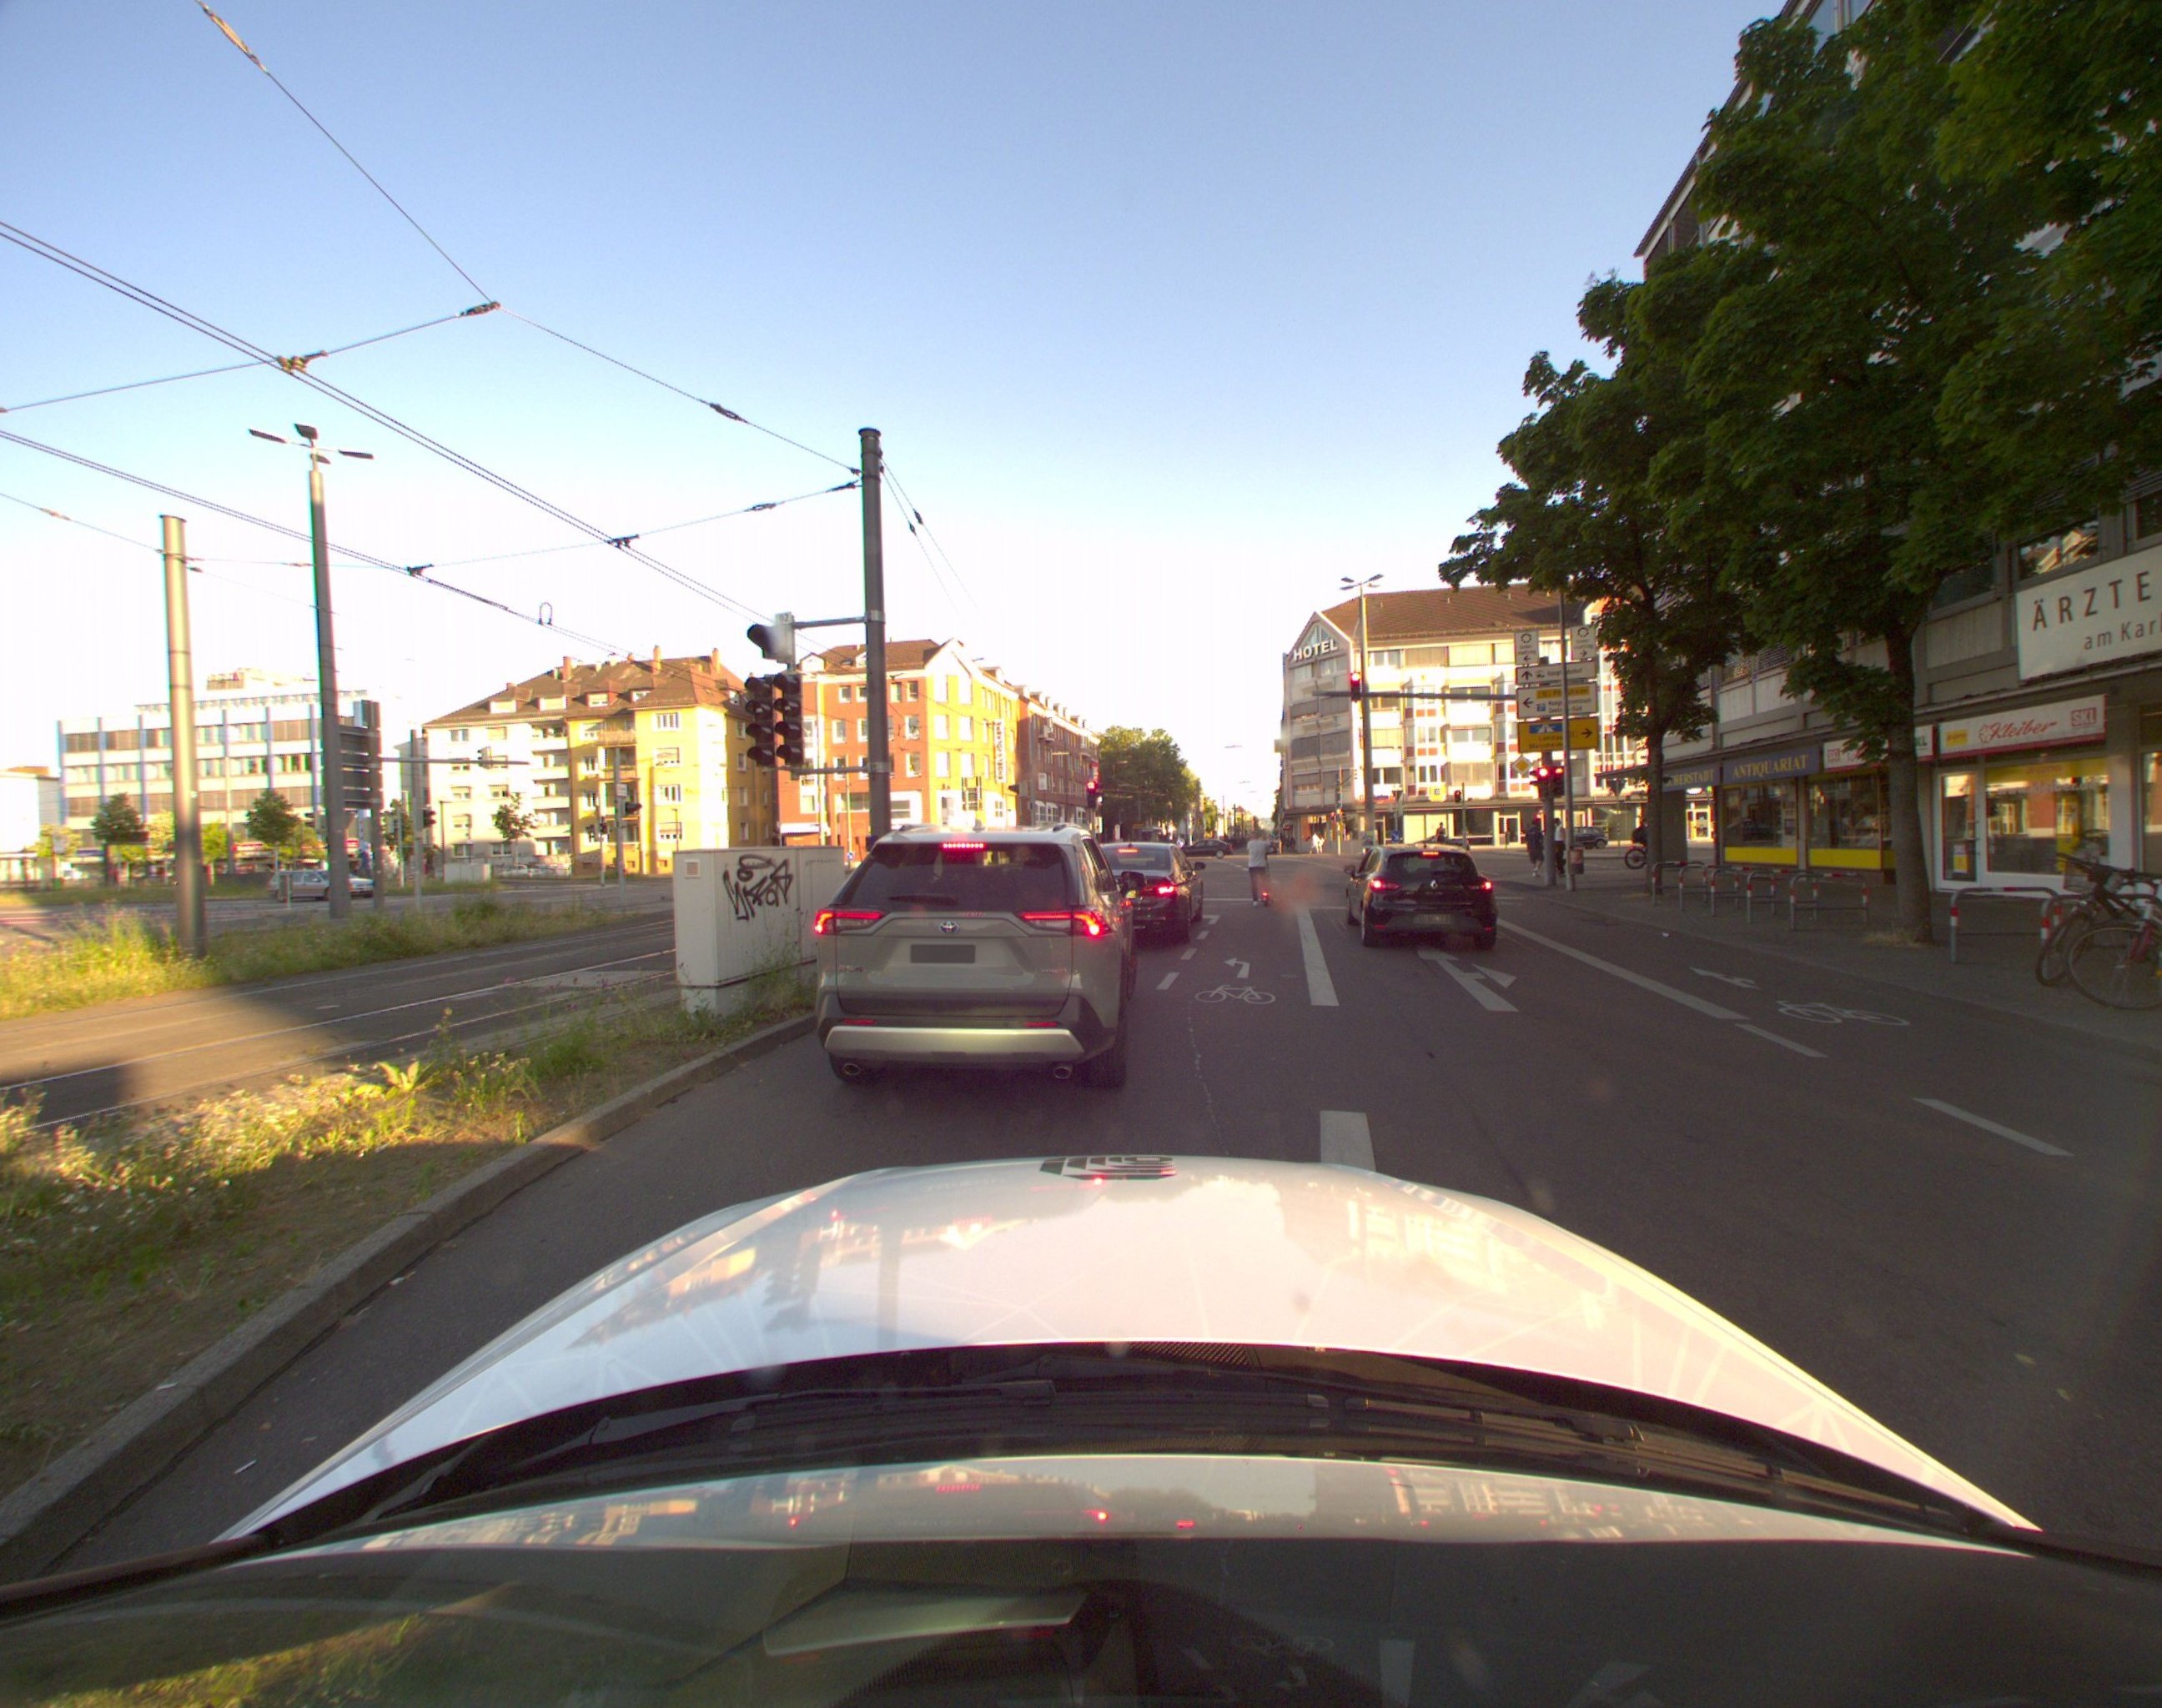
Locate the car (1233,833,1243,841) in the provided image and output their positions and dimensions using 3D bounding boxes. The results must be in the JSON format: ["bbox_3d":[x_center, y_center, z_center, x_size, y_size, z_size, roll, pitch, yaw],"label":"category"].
[{"bbox_3d":[38.784,-4.282,201.473,1.978,1.859,4.017,-2,1,16],"label":"car"}]

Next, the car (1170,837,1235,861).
[{"bbox_3d":[8.807,-0.371,58.682,4.523,1.620,2.004,-1,1,10],"label":"car"}]

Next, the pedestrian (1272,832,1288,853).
[{"bbox_3d":[16.680,-0.954,68.281,0.937,1.726,0.845,-1,1,-28],"label":"pedestrian"}]

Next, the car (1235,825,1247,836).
[{"bbox_3d":[30.937,-4.536,157.687,1.979,1.900,4.016,0,1,14],"label":"car"}]

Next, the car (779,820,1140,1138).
[{"bbox_3d":[-0.495,0.588,6.268,1.827,1.636,4.097,0,2,5],"label":"car"}]

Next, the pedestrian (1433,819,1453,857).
[{"bbox_3d":[17.221,-0.764,38.746,0.741,1.778,0.803,0,1,16],"label":"pedestrian"}]

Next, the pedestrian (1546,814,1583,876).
[{"bbox_3d":[14.668,-0.269,24.709,1.003,1.830,0.720,-1,1,-43],"label":"pedestrian"}]

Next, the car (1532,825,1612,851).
[{"bbox_3d":[33.050,-1.079,54.913,4.206,1.696,2.007,0,1,11],"label":"car"}]

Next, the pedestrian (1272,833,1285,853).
[{"bbox_3d":[16.757,-0.946,69.261,0.724,1.623,0.766,-2,1,-24],"label":"pedestrian"}]

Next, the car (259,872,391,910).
[{"bbox_3d":[-34.477,1.671,37.204,4.316,1.551,2.003,-1,1,6],"label":"car"}]

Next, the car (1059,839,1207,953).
[{"bbox_3d":[1.018,0.522,13.153,1.733,1.460,4.425,0,2,12],"label":"car"}]

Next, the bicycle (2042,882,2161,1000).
[{"bbox_3d":[8.882,0.689,6.362,1.802,0.891,0.417,0,1,20],"label":"bicycle"}]

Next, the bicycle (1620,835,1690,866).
[{"bbox_3d":[19.922,-0.121,28.282,2.025,1.028,0.418,-1,1,8],"label":"bicycle"}]

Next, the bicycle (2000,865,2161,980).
[{"bbox_3d":[9.322,0.593,7.174,1.643,0.974,0.388,0,1,20],"label":"bicycle"}]

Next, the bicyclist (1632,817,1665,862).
[{"bbox_3d":[19.704,-0.499,28.307,0.700,1.511,0.551,-4,0,7],"label":"bicyclist"}]

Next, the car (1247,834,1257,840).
[{"bbox_3d":[35.330,-3.496,168.143,1.980,1.310,4.014,-2,1,12],"label":"car"}]

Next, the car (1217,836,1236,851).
[{"bbox_3d":[16.507,-1.210,92.478,1.798,1.746,3.730,0,1,15],"label":"car"}]

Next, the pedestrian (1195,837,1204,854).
[{"bbox_3d":[11.501,-0.854,79.075,0.696,1.663,0.811,0,1,15],"label":"pedestrian"}]

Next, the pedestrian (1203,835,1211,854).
[{"bbox_3d":[12.187,-0.934,78.885,0.696,1.822,0.811,0,1,15],"label":"pedestrian"}]

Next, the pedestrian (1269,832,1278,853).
[{"bbox_3d":[20.425,-1.217,86.433,0.926,2.196,0.855,0,1,10],"label":"pedestrian"}]

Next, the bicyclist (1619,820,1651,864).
[{"bbox_3d":[19.878,-0.425,29.209,0.700,1.511,0.551,-4,0,4],"label":"bicyclist"}]

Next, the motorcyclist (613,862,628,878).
[{"bbox_3d":[-37.221,1.280,65.795,0.700,1.220,0.790,0,1,7],"label":"motorcyclist"}]

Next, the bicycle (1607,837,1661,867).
[{"bbox_3d":[19.850,-0.075,29.240,1.603,1.028,0.354,-2,1,6],"label":"bicycle"}]

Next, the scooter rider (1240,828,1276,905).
[{"bbox_3d":[3.891,0.257,17.876,0.656,1.647,0.665,0,1,21],"label":"scooter rider"}]

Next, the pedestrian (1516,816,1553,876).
[{"bbox_3d":[14.108,-0.258,25.335,1.003,1.830,0.720,-1,1,-44],"label":"pedestrian"}]

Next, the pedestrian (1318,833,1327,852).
[{"bbox_3d":[19.457,-0.912,65.610,0.495,1.503,0.472,-2,1,-24],"label":"pedestrian"}]

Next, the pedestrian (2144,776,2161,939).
[{"bbox_3d":[12.128,0.043,8.710,0.739,1.778,0.805,0,1,38],"label":"pedestrian"}]

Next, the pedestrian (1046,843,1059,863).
[{"bbox_3d":[-2.968,-0.147,83.762,1.086,2.013,1.167,0,1,11],"label":"pedestrian"}]

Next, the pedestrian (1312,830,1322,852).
[{"bbox_3d":[18.927,-1.024,65.357,0.495,1.774,0.472,-2,1,-24],"label":"pedestrian"}]

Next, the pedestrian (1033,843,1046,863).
[{"bbox_3d":[-4.090,-0.109,80.705,1.086,2.013,0.911,0,1,11],"label":"pedestrian"}]

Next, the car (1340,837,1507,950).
[{"bbox_3d":[5.058,0.470,12.546,1.752,1.439,4.015,0,1,14],"label":"car"}]

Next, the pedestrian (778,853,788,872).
[{"bbox_3d":[-25.591,0.740,69.918,0.547,1.642,0.502,0,1,12],"label":"pedestrian"}]

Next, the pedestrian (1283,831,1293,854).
[{"bbox_3d":[21.434,-1.209,84.332,1.077,2.365,1.060,0,1,14],"label":"pedestrian"}]

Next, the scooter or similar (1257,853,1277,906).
[{"bbox_3d":[4.056,0.529,17.731,0.277,1.090,1.263,0,1,20],"label":"scooter or similar"}]

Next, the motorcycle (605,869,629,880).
[{"bbox_3d":[-37.447,1.666,65.752,1.823,0.908,0.433,0,1,9],"label":"motorcycle"}]

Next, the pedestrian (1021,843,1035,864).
[{"bbox_3d":[-5.152,-0.089,79.266,1.086,2.013,0.911,0,1,11],"label":"pedestrian"}]

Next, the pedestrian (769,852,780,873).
[{"bbox_3d":[-25.760,0.717,68.456,0.671,1.743,0.682,-1,0,-41],"label":"pedestrian"}]

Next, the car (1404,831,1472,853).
[{"bbox_3d":[24.626,-0.856,56.266,3.961,1.476,2.007,0,1,11],"label":"car"}]
